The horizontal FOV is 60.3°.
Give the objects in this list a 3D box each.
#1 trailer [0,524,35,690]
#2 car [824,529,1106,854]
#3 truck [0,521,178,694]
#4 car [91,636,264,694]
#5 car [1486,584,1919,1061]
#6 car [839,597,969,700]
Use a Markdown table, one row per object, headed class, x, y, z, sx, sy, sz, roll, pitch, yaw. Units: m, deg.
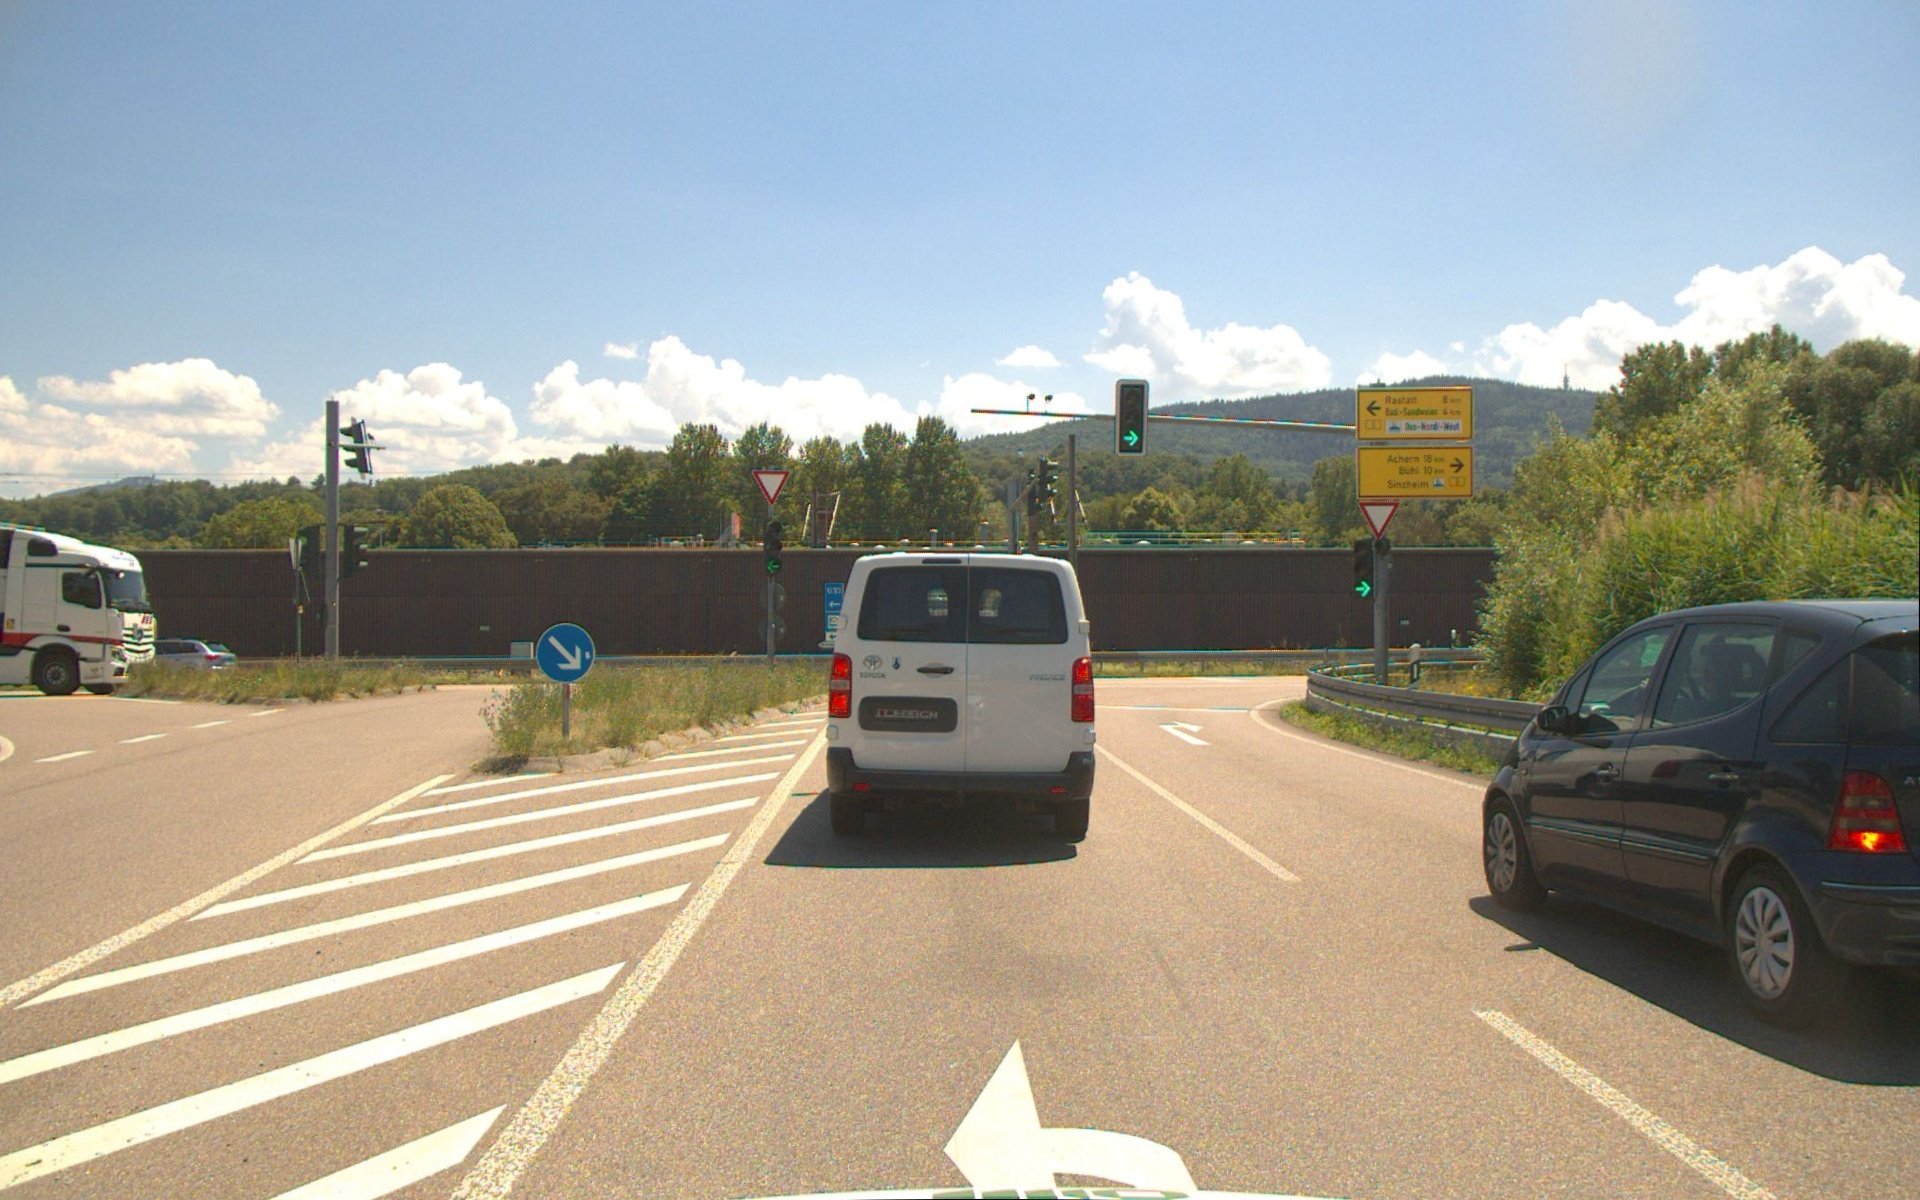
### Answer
| class | x | y | z | sx | sy | sz | roll | pitch | yaw |
| --- | --- | --- | --- | --- | --- | --- | --- | --- | --- |
| trailer | -29.616 | 0.160 | 39.653 | 12.878 | 4.024 | 3.060 | 0 | -1 | -3 |
| car | -0.003 | 0.604 | 12.489 | 1.778 | 2.053 | 3.999 | 0 | -1 | -1 |
| truck | -22.488 | 0.189 | 40.012 | 5.650 | 4.024 | 3.060 | 0 | -1 | -3 |
| car | -22.051 | 1.826 | 46.711 | 3.906 | 1.579 | 1.999 | 0 | -1 | -1 |
| car | 3.834 | 0.788 | 7.484 | 1.635 | 1.628 | 3.551 | 1 | -1 | -3 |
| car | -1.285 | 1.017 | 35.516 | 1.959 | 2.049 | 4.697 | 1 | -1 | -13 |
